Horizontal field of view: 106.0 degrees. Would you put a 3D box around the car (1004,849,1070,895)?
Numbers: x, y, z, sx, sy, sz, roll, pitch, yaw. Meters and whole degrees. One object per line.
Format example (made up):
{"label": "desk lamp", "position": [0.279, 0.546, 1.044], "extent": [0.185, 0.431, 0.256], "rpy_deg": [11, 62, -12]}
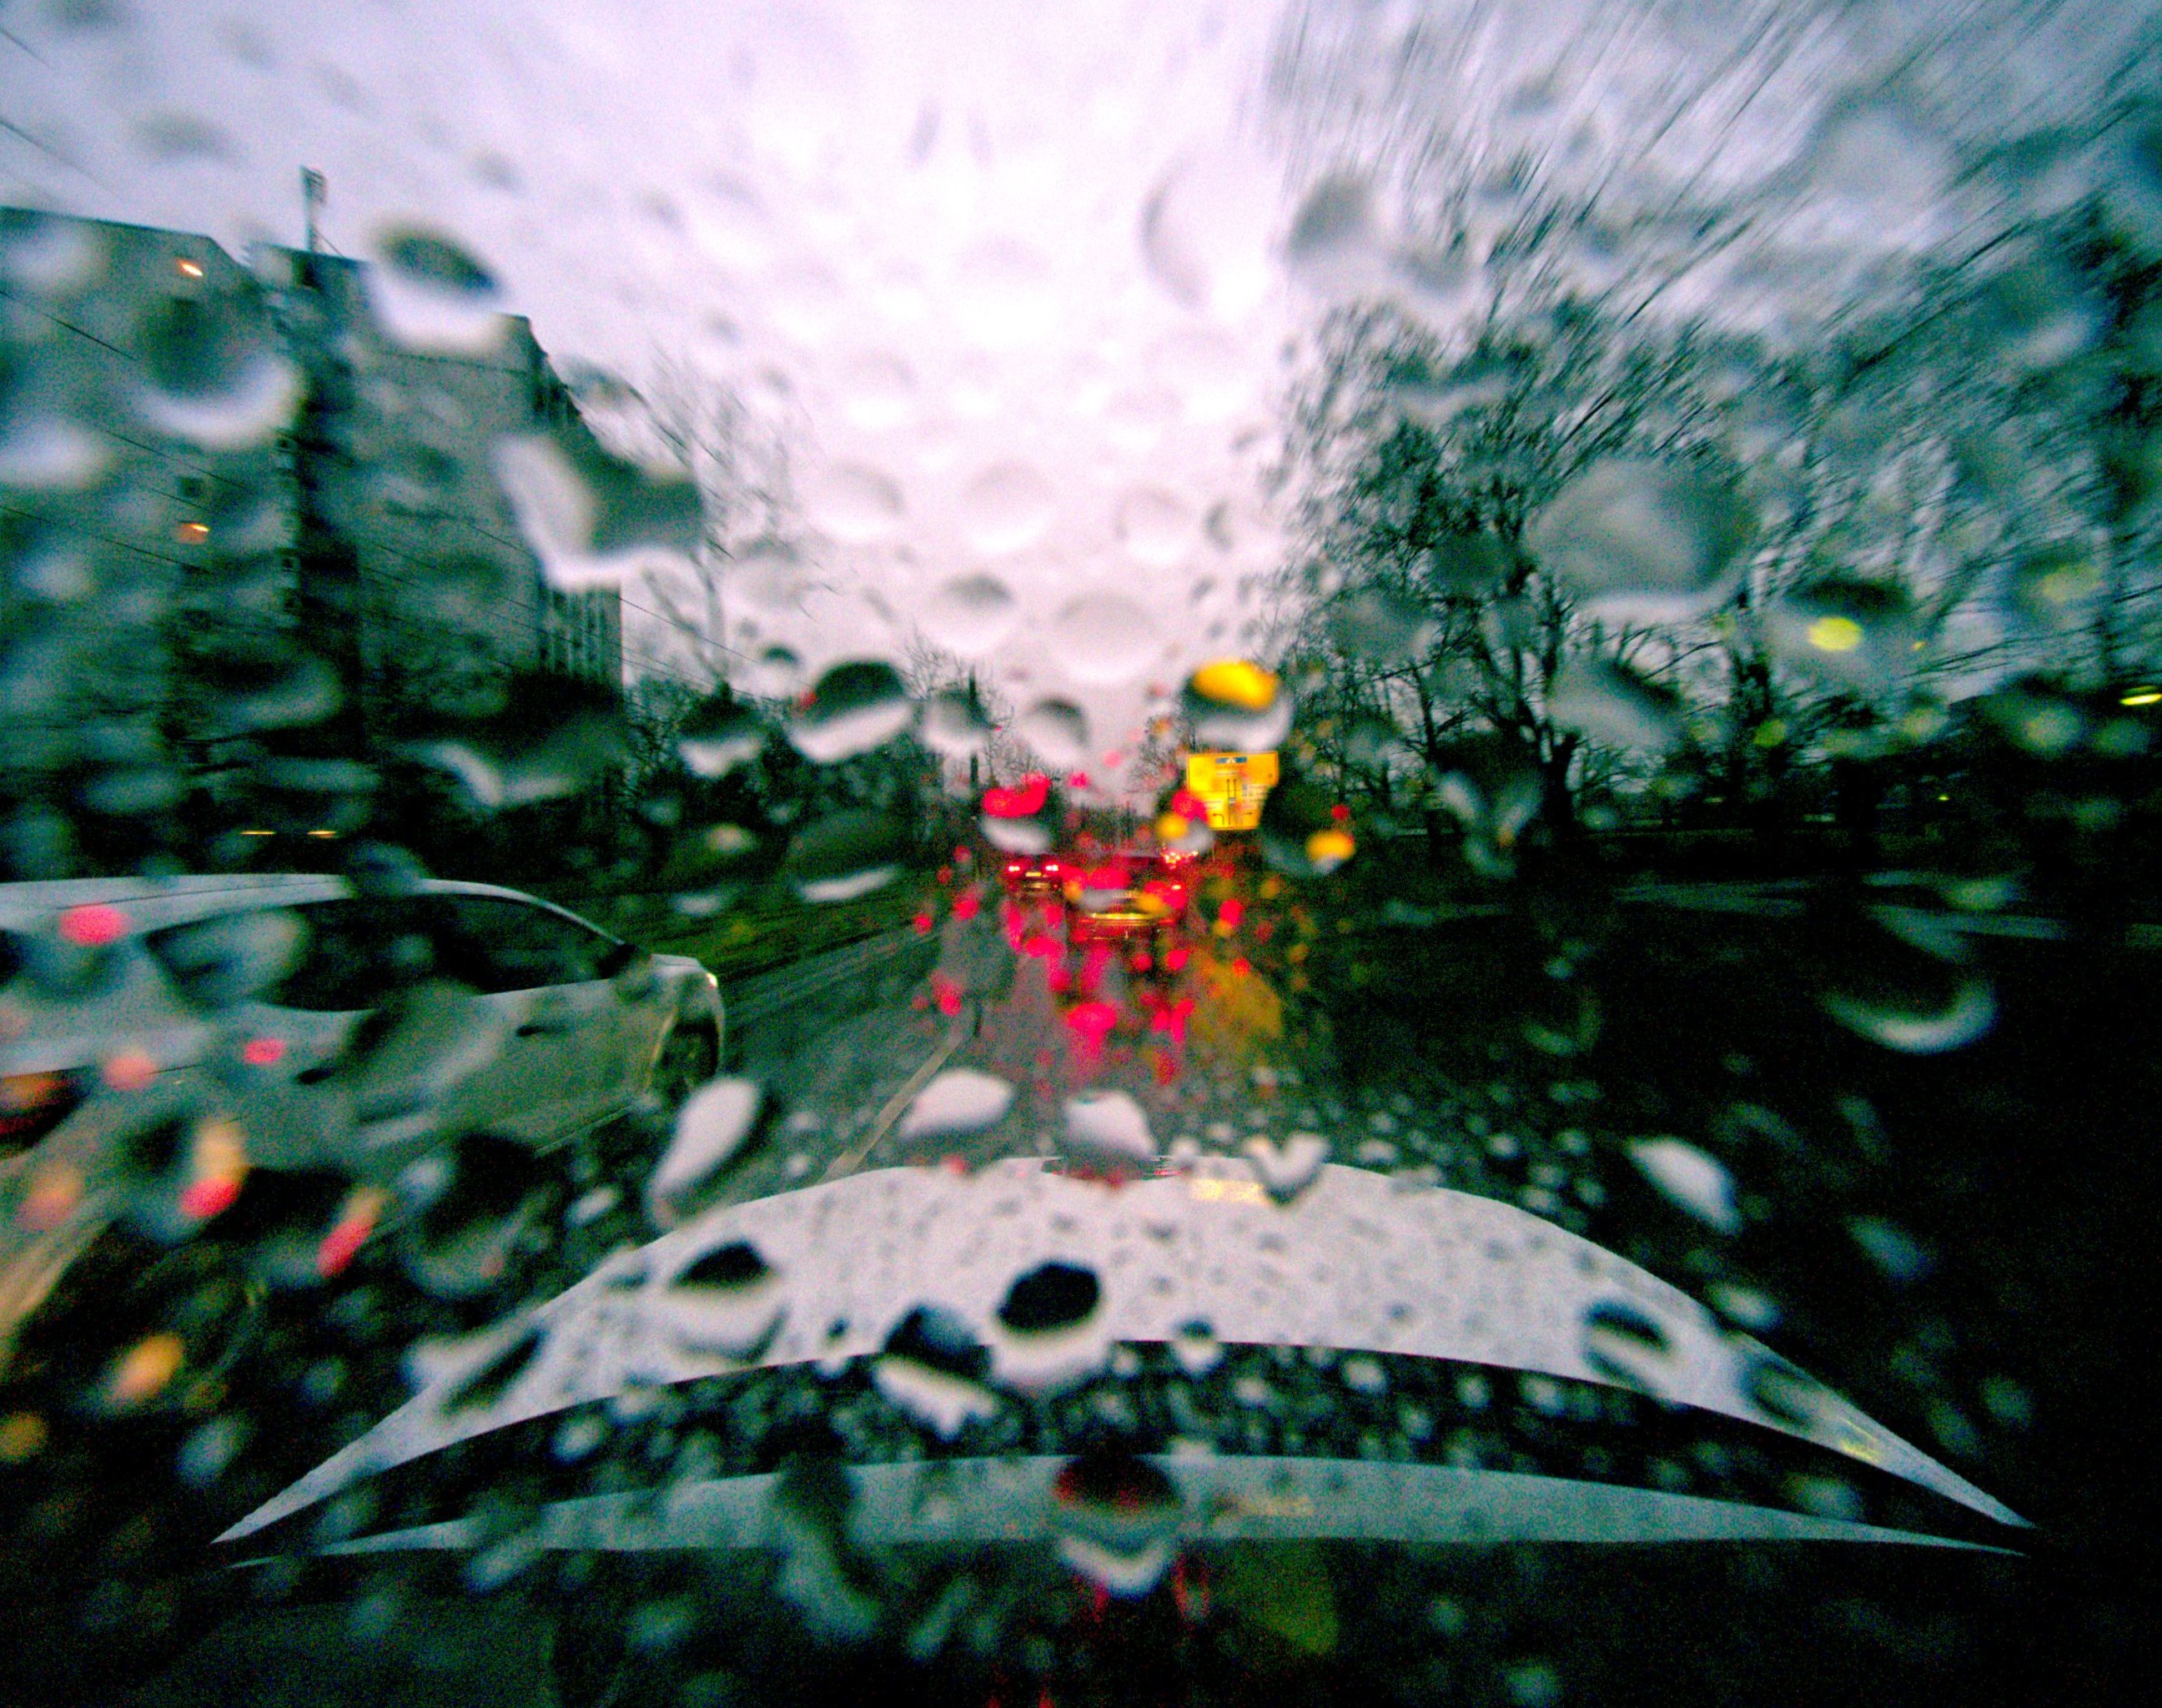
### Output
{"label": "car", "position": [-1.506, 0.602, 29.288], "extent": [1.872, 1.459, 4.004], "rpy_deg": [-2, 1, 3]}

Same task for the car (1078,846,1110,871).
{"label": "car", "position": [0.952, 0.296, 55.946], "extent": [1.871, 1.593, 4.006], "rpy_deg": [-2, 1, 5]}

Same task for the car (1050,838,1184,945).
{"label": "car", "position": [0.667, 0.549, 14.218], "extent": [1.989, 1.584, 4.004], "rpy_deg": [-1, 0, 4]}

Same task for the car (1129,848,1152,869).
{"label": "car", "position": [4.649, 0.314, 62.878], "extent": [1.700, 1.558, 4.001], "rpy_deg": [-1, 0, 5]}

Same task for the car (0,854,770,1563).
{"label": "car", "position": [-3.093, 0.784, 3.456], "extent": [1.701, 1.525, 4.139], "rpy_deg": [-1, 0, 4]}
